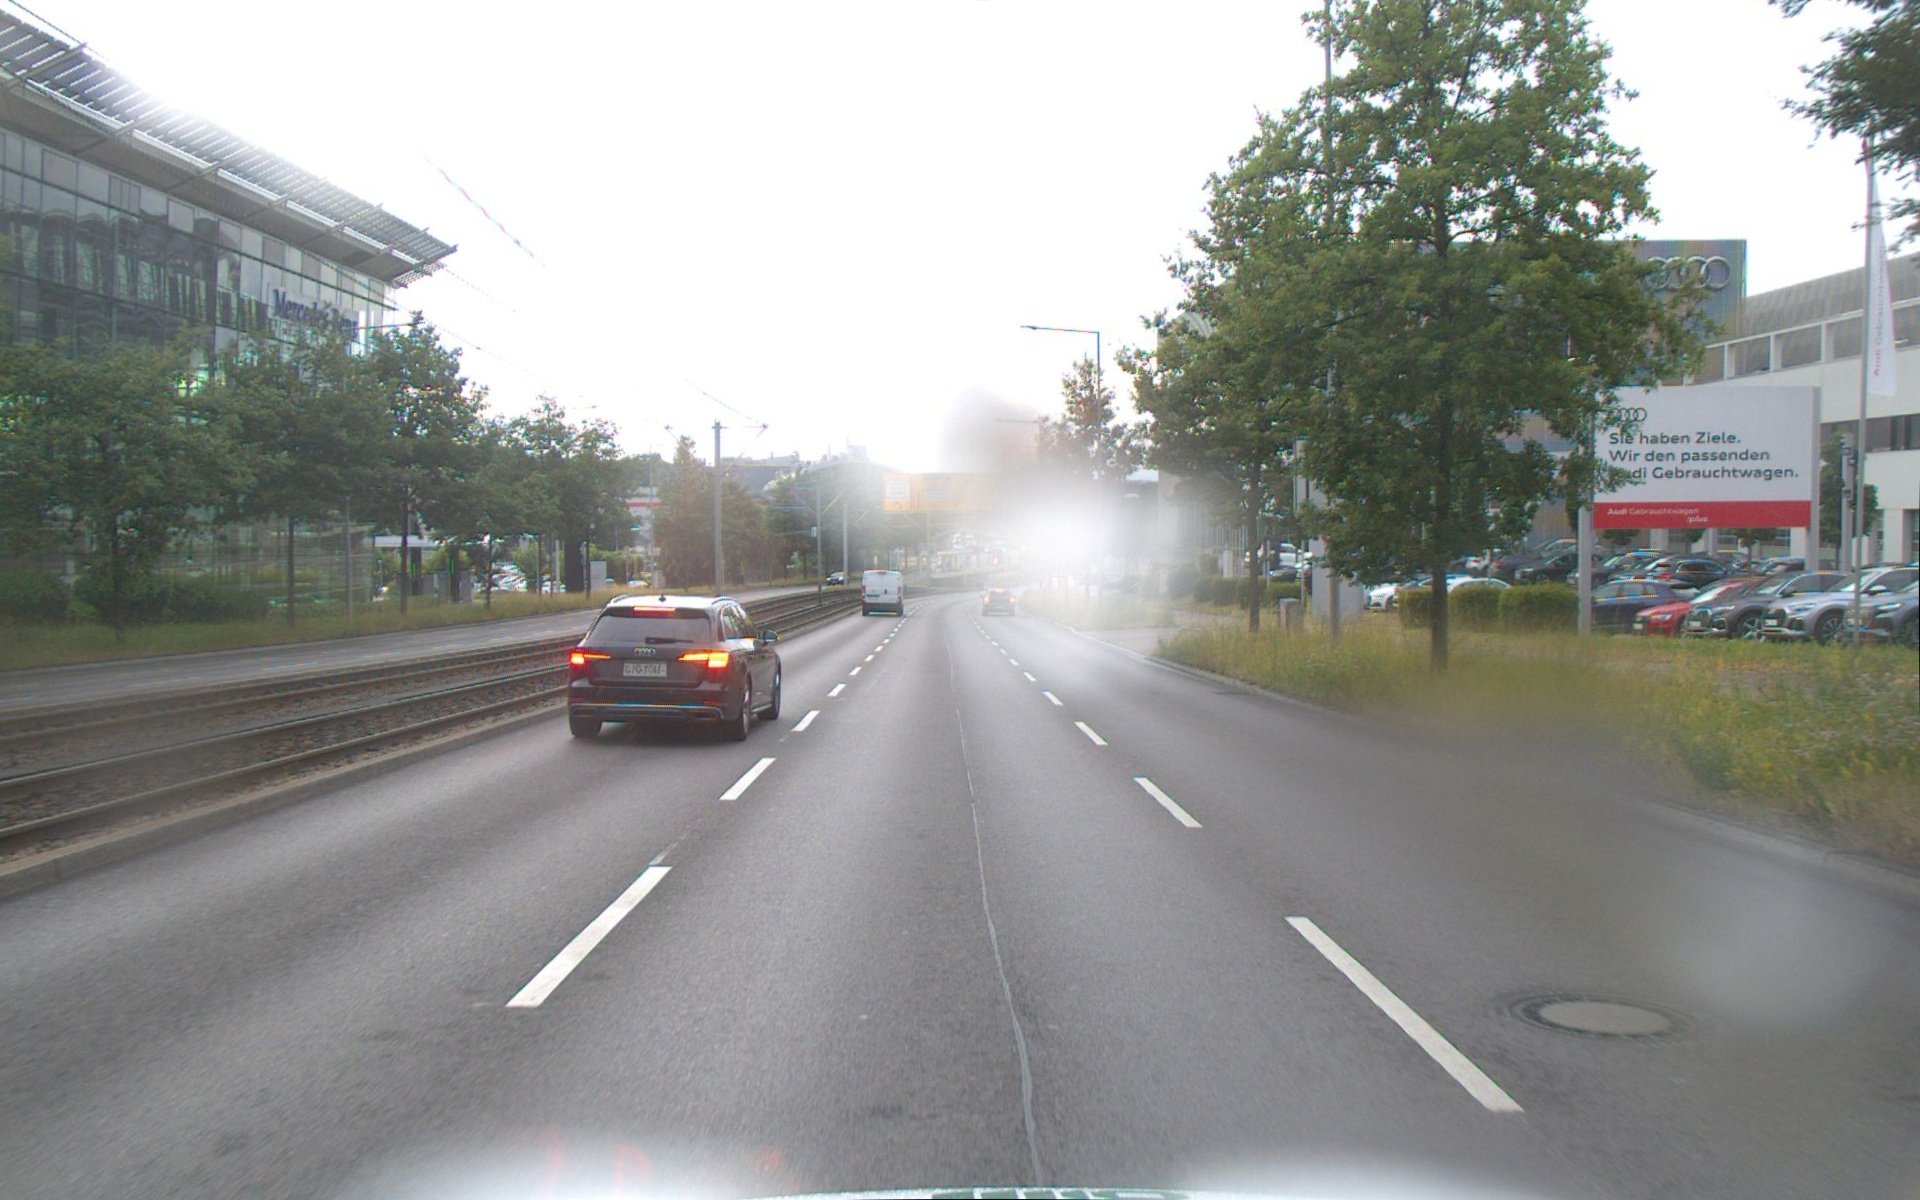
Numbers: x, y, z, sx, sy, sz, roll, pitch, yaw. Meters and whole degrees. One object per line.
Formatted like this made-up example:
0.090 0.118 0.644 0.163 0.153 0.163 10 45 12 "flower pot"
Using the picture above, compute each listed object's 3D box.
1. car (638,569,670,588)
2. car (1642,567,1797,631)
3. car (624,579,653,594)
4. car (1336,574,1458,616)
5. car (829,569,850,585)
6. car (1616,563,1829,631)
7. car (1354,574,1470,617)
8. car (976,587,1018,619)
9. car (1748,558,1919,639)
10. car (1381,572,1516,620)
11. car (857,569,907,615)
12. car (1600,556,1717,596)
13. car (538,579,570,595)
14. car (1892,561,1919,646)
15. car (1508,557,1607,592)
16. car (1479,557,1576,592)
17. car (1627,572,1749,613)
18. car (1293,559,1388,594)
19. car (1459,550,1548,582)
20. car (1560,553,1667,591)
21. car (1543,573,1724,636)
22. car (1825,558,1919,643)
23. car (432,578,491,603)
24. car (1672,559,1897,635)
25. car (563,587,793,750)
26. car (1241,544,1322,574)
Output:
-28.776 -1.971 155.594 1.952 1.679 4.002 1 0 4 "car"
21.004 -0.020 45.849 1.750 1.621 3.521 -3 1 -33 "car"
-33.157 -1.400 170.555 1.969 1.536 3.967 1 0 -26 "car"
17.472 -0.198 66.210 4.428 1.622 1.692 0 0 -2 "car"
-13.073 -2.520 179.769 1.844 1.547 4.405 -3 1 2 "car"
18.640 -0.081 40.532 4.375 1.578 1.929 -1 0 -6 "car"
17.506 -0.166 64.199 4.023 1.622 1.692 0 0 -2 "car"
1.992 0.158 91.072 1.981 1.651 3.997 1 0 -3 "car"
19.146 -0.049 34.599 4.371 1.578 1.930 -2 0 -2 "car"
16.879 -0.108 57.236 4.030 1.622 1.944 0 -1 -9 "car"
-4.024 -0.389 85.387 2.461 2.215 5.146 1 0 -3 "car"
28.301 -0.978 67.089 4.023 1.601 1.692 0 0 -2 "car"
-41.023 -1.339 167.096 1.974 1.536 3.956 1 0 -32 "car"
18.958 -0.006 28.812 4.371 1.481 1.930 -2 0 -2 "car"
27.762 -1.192 76.907 4.023 1.601 1.692 -1 2 -2 "car"
27.332 -1.236 79.721 4.023 1.601 1.825 0 1 -2 "car"
28.371 -0.283 64.516 4.023 1.602 1.692 0 -1 -2 "car"
17.632 -1.094 76.765 4.023 1.601 1.692 0 1 -2 "car"
27.891 -1.742 84.940 4.023 1.601 1.692 0 1 -2 "car"
28.512 -1.215 72.206 4.022 1.601 1.692 -1 0 -2 "car"
18.156 0.120 44.745 1.814 1.621 4.313 -1 0 -32 "car"
19.233 -0.042 31.618 4.371 1.555 1.930 -1 0 -2 "car"
-37.693 -0.733 125.188 3.911 1.780 1.997 1 0 -7 "car"
18.555 -0.070 37.339 4.191 1.621 1.825 -1 0 -3 "car"
-2.888 0.627 17.898 1.728 1.489 4.626 2 0 -1 "car"
17.920 -2.285 92.321 4.173 1.601 1.692 0 1 -2 "car"
